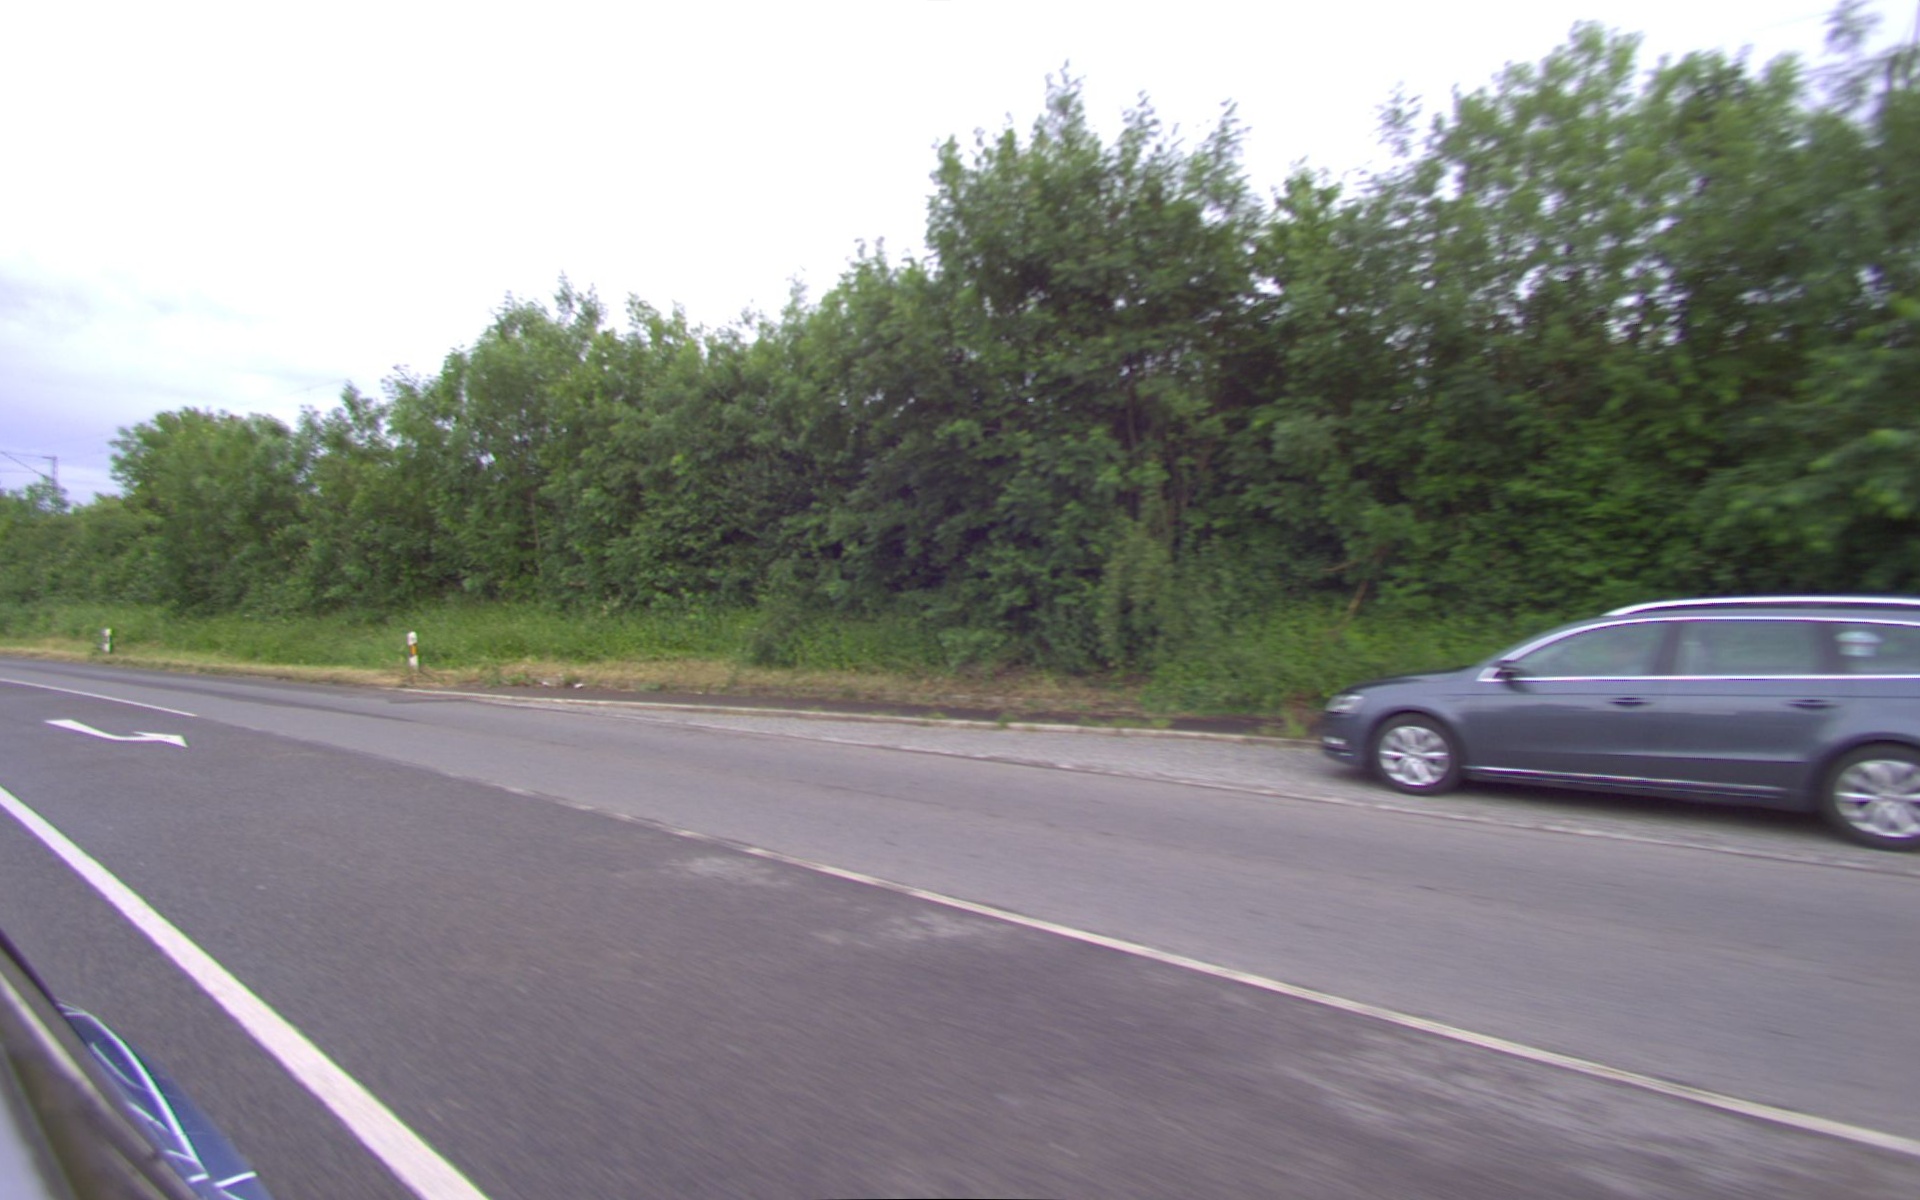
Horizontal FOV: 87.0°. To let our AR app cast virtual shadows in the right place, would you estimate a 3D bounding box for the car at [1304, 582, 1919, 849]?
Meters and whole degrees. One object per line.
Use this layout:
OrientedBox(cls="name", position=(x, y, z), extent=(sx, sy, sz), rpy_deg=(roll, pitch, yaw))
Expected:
OrientedBox(cls="car", position=(5.162, 0.648, 7.284), extent=(4.700, 1.485, 1.972), rpy_deg=(0, 1, 42))
